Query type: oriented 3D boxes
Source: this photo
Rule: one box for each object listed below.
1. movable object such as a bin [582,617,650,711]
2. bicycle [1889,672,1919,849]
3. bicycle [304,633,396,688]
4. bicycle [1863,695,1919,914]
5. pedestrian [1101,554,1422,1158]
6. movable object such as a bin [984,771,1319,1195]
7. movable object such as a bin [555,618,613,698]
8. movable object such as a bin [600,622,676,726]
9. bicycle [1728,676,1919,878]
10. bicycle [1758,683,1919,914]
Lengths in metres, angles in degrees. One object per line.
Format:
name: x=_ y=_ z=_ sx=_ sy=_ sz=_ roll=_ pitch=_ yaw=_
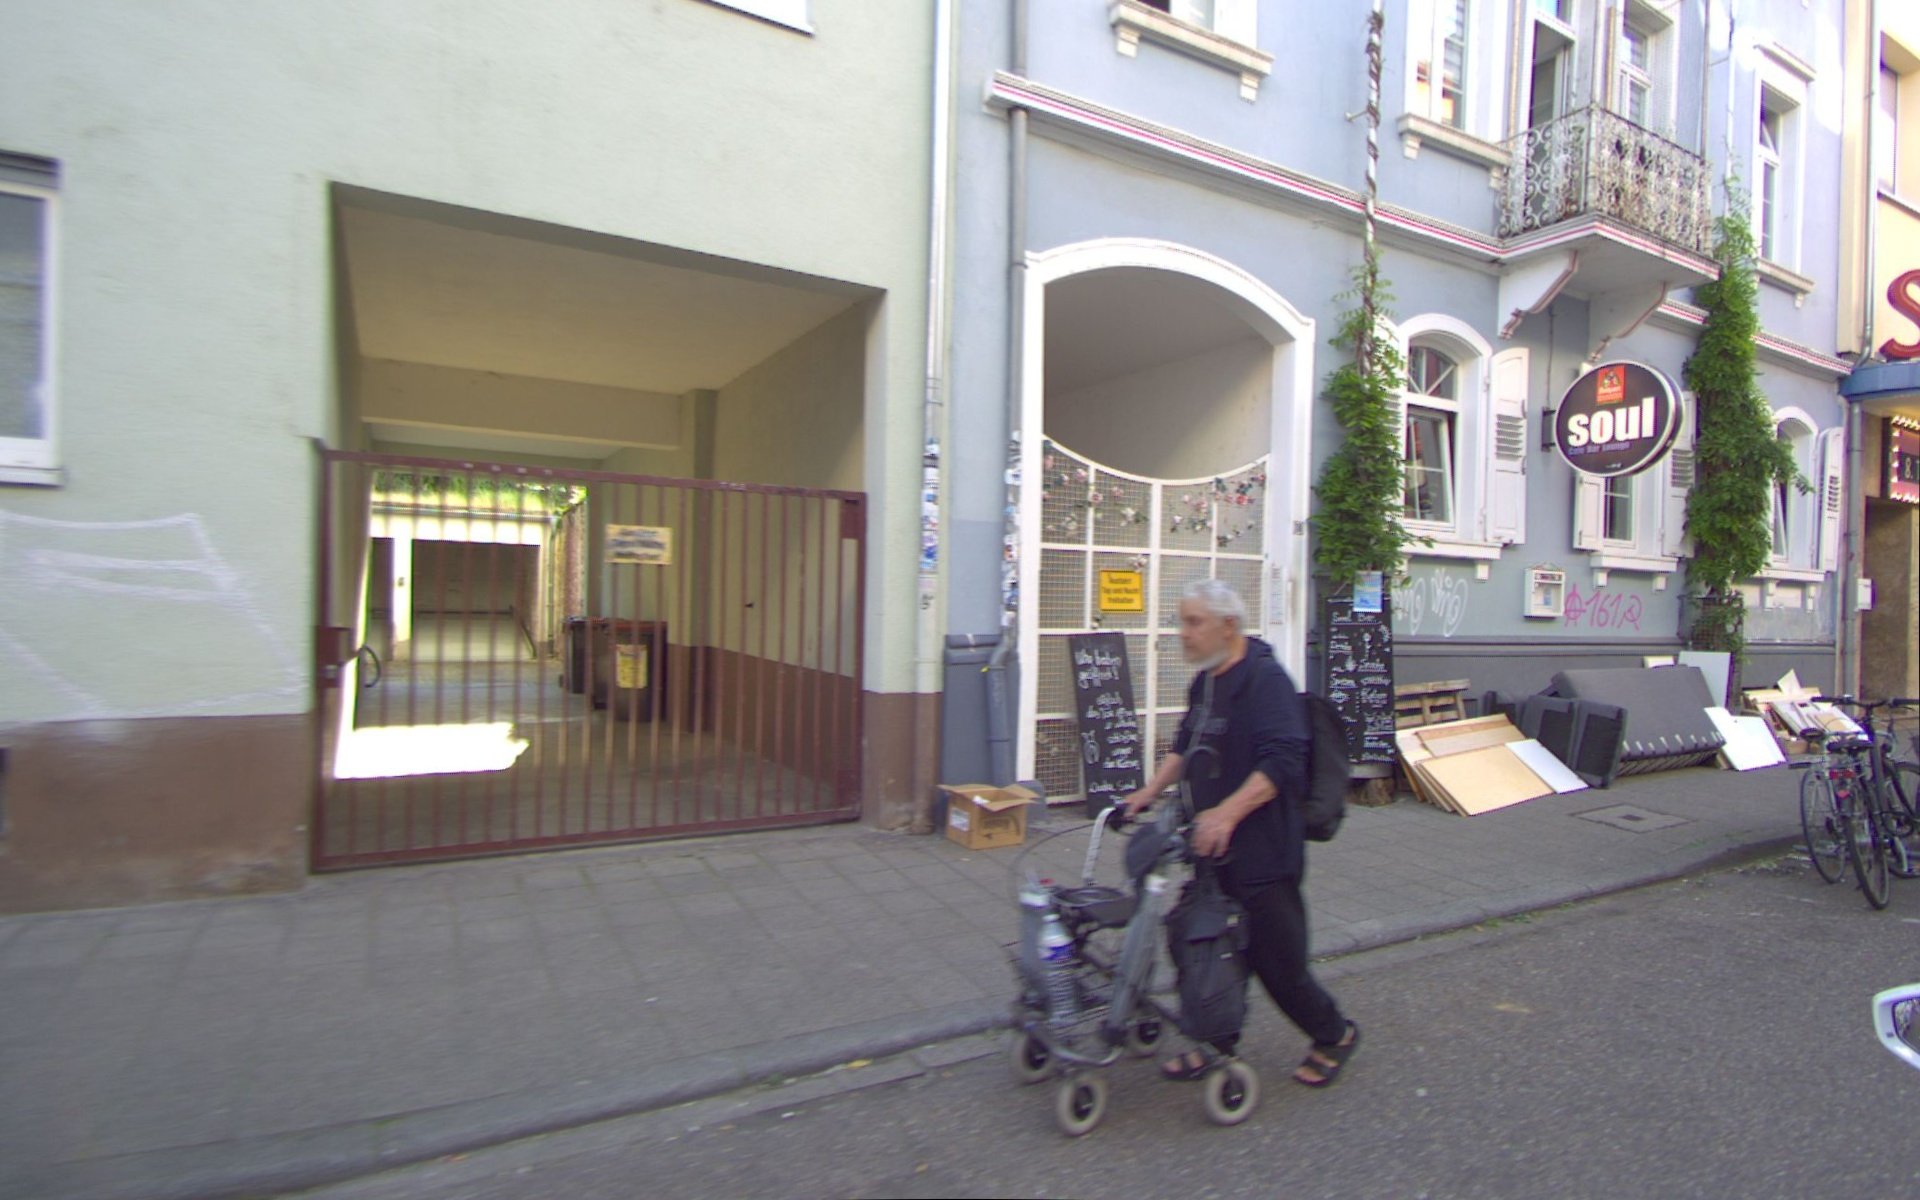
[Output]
movable object such as a bin: x=-4.141 y=0.758 z=12.093 sx=0.676 sy=1.078 sz=0.517 roll=1 pitch=1 yaw=-30
bicycle: x=7.065 y=1.116 z=6.874 sx=0.910 sy=1.190 sz=0.808 roll=1 pitch=0 yaw=-32
bicycle: x=-8.733 y=0.859 z=14.419 sx=1.083 sy=0.738 sz=0.440 roll=1 pitch=1 yaw=-28
bicycle: x=5.904 y=1.122 z=5.801 sx=1.909 sy=1.120 sz=0.441 roll=1 pitch=1 yaw=-31
pedestrian: x=0.979 y=0.734 z=3.345 sx=0.664 sy=1.730 sz=0.709 roll=1 pitch=1 yaw=-30
movable object such as a bin: x=0.552 y=1.068 z=3.084 sx=0.579 sy=0.909 sz=0.840 roll=2 pitch=1 yaw=-31
movable object such as a bin: x=-5.301 y=0.802 z=14.167 sx=0.676 sy=1.078 sz=0.517 roll=1 pitch=1 yaw=-30
movable object such as a bin: x=-3.516 y=0.790 z=10.960 sx=0.676 sy=1.078 sz=0.517 roll=1 pitch=1 yaw=-30
bicycle: x=5.646 y=1.088 z=6.511 sx=1.678 sy=1.120 sz=0.441 roll=1 pitch=1 yaw=-31
bicycle: x=5.361 y=1.084 z=5.887 sx=1.853 sy=1.120 sz=0.441 roll=1 pitch=1 yaw=-31
